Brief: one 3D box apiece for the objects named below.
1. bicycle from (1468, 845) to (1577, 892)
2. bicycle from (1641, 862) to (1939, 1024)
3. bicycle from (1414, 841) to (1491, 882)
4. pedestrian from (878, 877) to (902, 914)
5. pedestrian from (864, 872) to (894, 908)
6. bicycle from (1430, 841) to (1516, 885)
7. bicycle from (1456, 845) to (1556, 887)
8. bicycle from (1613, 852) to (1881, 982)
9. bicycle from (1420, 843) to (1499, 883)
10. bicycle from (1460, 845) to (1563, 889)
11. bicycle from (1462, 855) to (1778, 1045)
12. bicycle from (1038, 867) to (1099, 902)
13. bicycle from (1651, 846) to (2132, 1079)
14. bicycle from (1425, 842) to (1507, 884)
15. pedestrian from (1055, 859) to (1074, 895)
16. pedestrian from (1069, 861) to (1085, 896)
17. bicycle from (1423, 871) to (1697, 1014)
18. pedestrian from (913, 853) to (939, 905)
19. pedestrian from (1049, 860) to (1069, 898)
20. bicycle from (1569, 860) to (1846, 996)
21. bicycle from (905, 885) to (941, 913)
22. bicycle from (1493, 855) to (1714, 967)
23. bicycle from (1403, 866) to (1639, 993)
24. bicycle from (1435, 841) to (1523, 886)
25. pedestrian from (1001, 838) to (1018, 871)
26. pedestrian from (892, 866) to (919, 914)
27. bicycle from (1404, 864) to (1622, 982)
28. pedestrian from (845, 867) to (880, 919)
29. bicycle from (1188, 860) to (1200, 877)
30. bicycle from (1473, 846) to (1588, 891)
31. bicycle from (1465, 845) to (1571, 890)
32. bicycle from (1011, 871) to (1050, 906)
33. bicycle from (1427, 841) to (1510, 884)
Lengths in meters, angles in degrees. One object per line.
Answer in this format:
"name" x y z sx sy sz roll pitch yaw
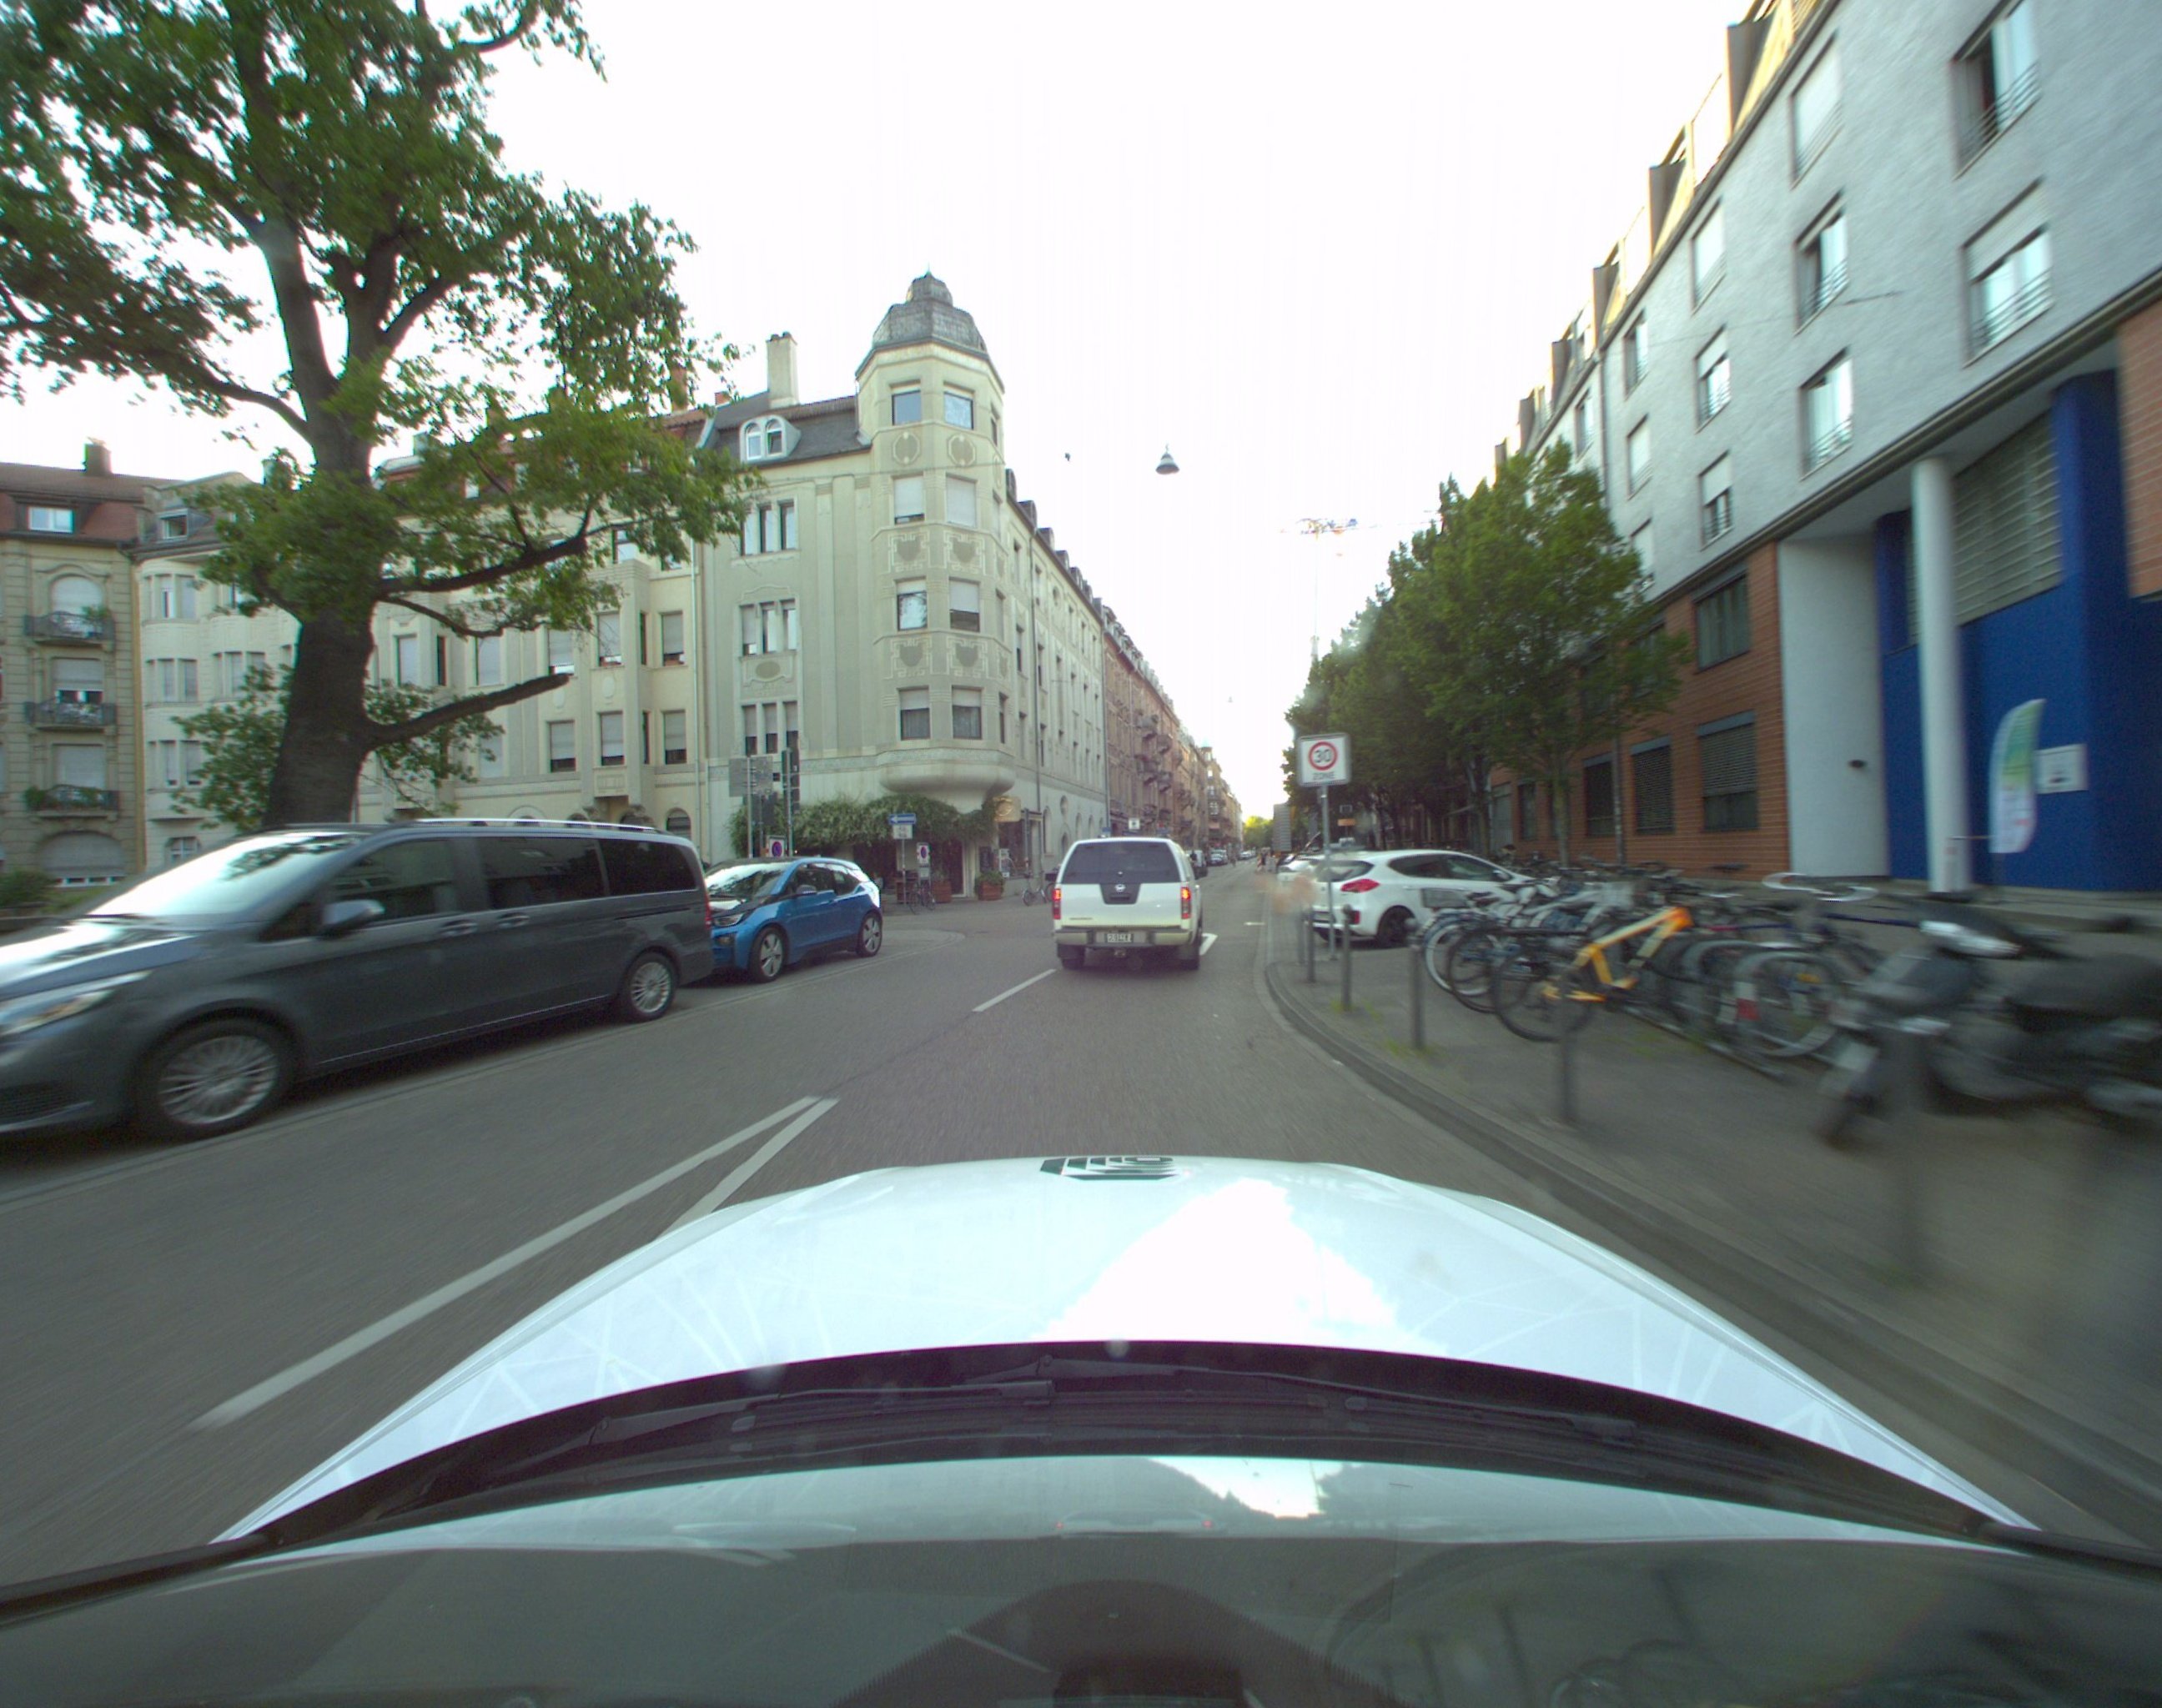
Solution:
"bicycle" 12.061 0.400 22.311 2.515 1.166 0.564 -2 -1 15
"bicycle" 5.034 0.633 5.862 1.529 1.038 0.473 -4 -1 11
"bicycle" 14.210 0.281 31.230 2.516 1.244 0.602 -8 -2 15
"pedestrian" -6.403 1.380 27.307 0.526 1.214 0.608 -2 -1 13
"pedestrian" -7.028 1.256 28.367 0.686 1.214 0.782 -2 -1 14
"bicycle" 13.321 0.310 27.732 2.515 1.379 0.602 -2 -1 15
"bicycle" 12.531 0.360 24.084 2.515 1.166 0.564 -2 -1 15
"bicycle" 6.104 0.580 7.552 1.845 1.066 0.526 -4 -1 11
"bicycle" 13.840 0.339 29.824 2.515 1.379 0.602 -2 -1 15
"bicycle" 12.378 0.366 23.490 2.515 1.166 0.564 -2 -1 15
"bicycle" 3.638 0.651 5.613 1.696 1.176 0.473 -4 -1 11
"bicycle" -0.430 0.981 26.843 2.089 1.095 0.504 -1 1 38
"bicycle" 4.562 0.614 4.739 1.846 1.146 0.661 -5 -1 12
"bicycle" 13.719 0.321 29.078 2.515 1.379 0.602 -2 -1 15
"pedestrian" -0.607 0.850 30.236 0.533 1.324 0.707 -2 -1 13
"pedestrian" -0.146 0.961 31.976 0.465 1.350 0.613 -2 -1 12
"bicycle" 3.889 0.726 6.734 1.845 1.038 0.473 -4 -1 11
"pedestrian" -5.060 0.805 26.568 0.619 1.675 0.562 -1 -1 -38
"pedestrian" -0.787 0.892 29.490 0.533 1.324 0.707 -2 -1 13
"bicycle" 5.310 0.631 6.984 1.845 1.038 0.403 -4 -1 11
"bicycle" -4.864 1.382 25.146 0.420 0.695 1.785 -2 2 10
"bicycle" 5.583 0.611 8.797 1.899 1.066 0.526 -4 -1 11
"bicycle" 4.089 0.708 7.668 1.845 1.066 0.447 -4 -1 11
"bicycle" 13.185 0.309 27.028 2.515 1.379 0.602 -2 -1 15
"pedestrian" -2.950 0.024 33.599 0.534 1.350 0.520 -2 -1 13
"pedestrian" -5.564 1.139 25.798 0.568 1.469 0.646 -3 -1 11
"bicycle" 4.338 0.697 8.274 1.845 1.066 0.447 -4 -1 11
"pedestrian" -6.793 1.203 25.329 0.697 1.540 0.786 -3 -1 12
"bicycle" 7.246 0.910 52.178 0.610 1.040 1.911 -2 0 13
"bicycle" 11.909 0.399 21.647 2.515 0.959 0.683 -6 -1 15
"bicycle" 12.245 0.375 22.891 2.515 1.166 0.564 -2 -1 15
"bicycle" -1.599 1.089 26.051 0.419 1.012 1.729 -2 1 27
"bicycle" 13.471 0.305 28.378 2.515 1.379 0.602 -2 -1 15
